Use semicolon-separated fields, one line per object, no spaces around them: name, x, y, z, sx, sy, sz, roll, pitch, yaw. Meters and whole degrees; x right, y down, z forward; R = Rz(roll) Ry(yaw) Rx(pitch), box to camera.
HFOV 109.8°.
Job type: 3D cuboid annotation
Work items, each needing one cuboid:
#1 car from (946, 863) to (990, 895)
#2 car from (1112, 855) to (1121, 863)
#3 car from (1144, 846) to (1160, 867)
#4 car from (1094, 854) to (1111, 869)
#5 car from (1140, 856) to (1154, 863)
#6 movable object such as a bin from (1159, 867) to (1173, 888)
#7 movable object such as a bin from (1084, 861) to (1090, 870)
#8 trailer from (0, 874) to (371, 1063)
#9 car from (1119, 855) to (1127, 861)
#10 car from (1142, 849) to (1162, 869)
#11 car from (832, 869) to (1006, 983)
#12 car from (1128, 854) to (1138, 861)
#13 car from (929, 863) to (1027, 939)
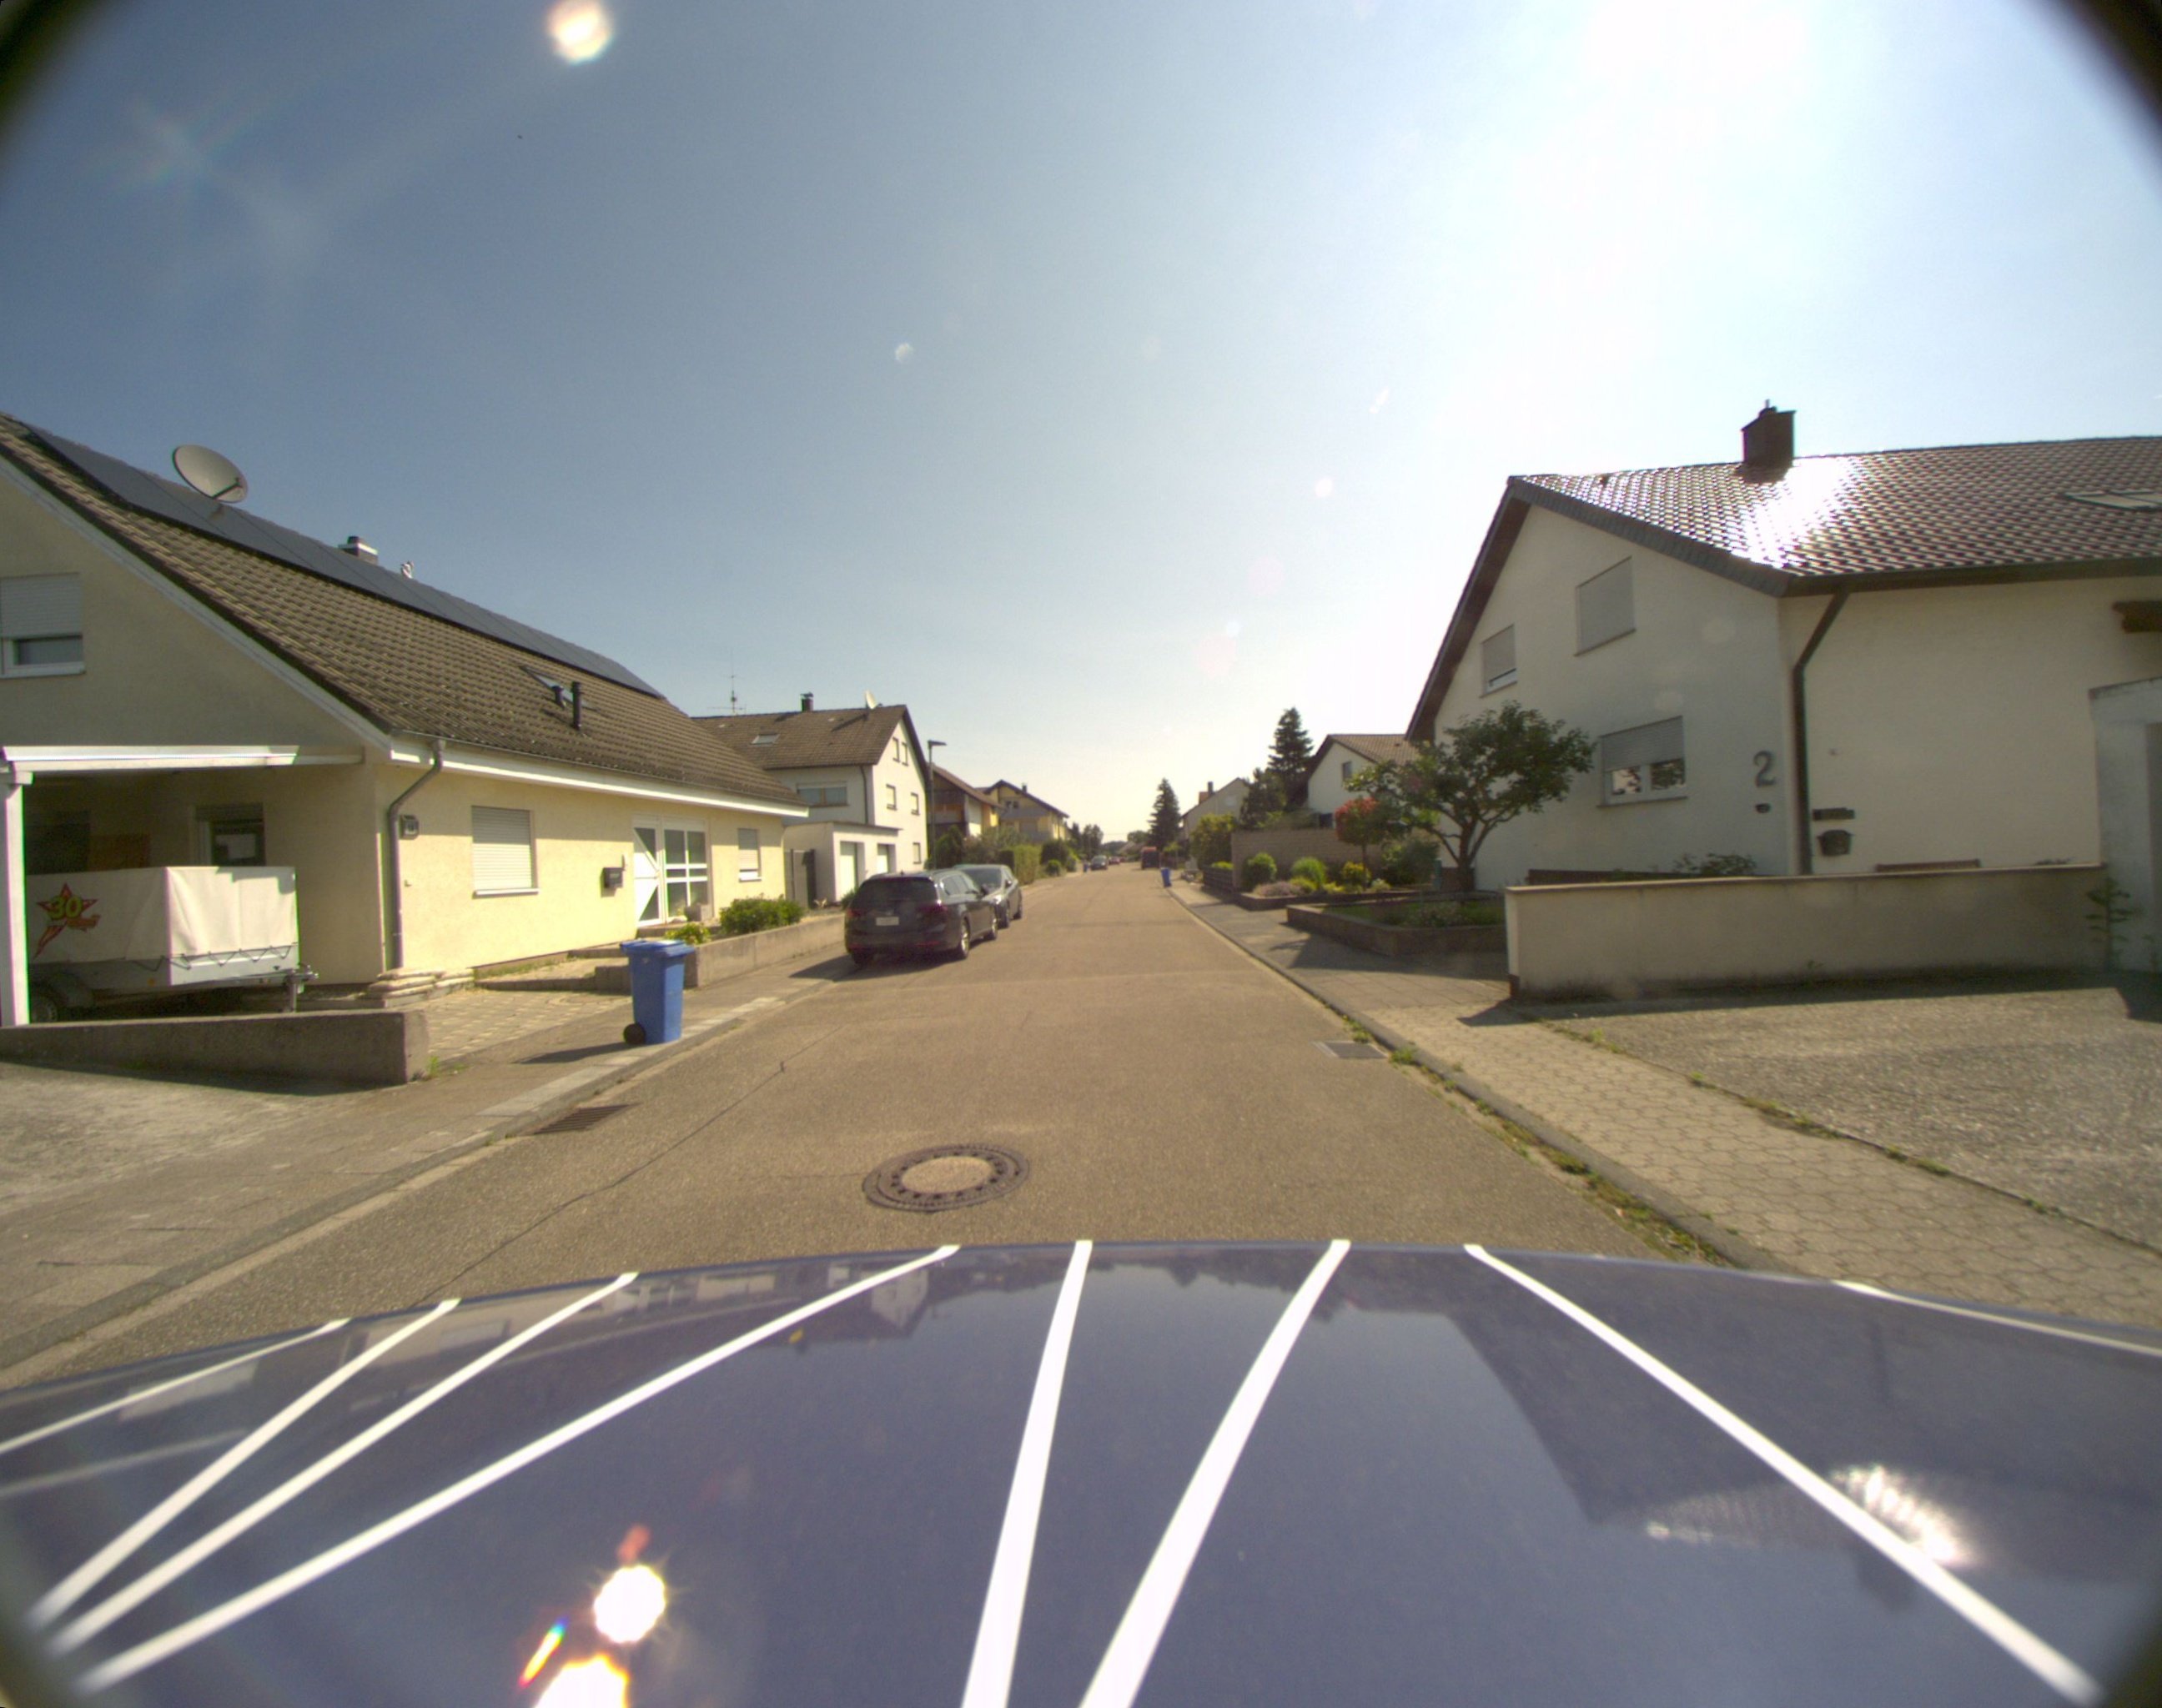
car;-5.472;1.179;37.046;1.498;1.351;3.527;-2;0;1
car;6.163;0.900;131.499;1.517;1.398;3.678;-3;-1;2
car;8.237;0.256;88.588;1.555;2.310;4.205;-3;0;3
car;2.506;0.913;89.330;1.631;1.616;4.002;-3;-1;6
car;16.601;1.426;191.385;3.413;1.521;1.638;-3;0;-2
movable object such as a bin;4.018;1.107;36.044;0.584;0.911;0.598;-3;0;3
movable object such as a bin;0.667;1.215;79.892;0.584;0.911;0.598;-3;0;3
trailer;-9.477;1.122;7.909;2.841;1.680;1.403;-2;0;3
car;10.780;1.142;195.265;1.709;1.332;4.000;-3;-2;-4
car;7.336;0.471;79.219;1.869;1.927;4.205;-3;0;3
car;-2.601;1.110;13.418;1.721;1.430;4.504;-5;0;4
car;12.467;0.842;182.427;1.709;1.332;4.000;-3;-2;-4
car;-2.441;1.088;18.993;1.646;1.470;4.000;-4;1;2
